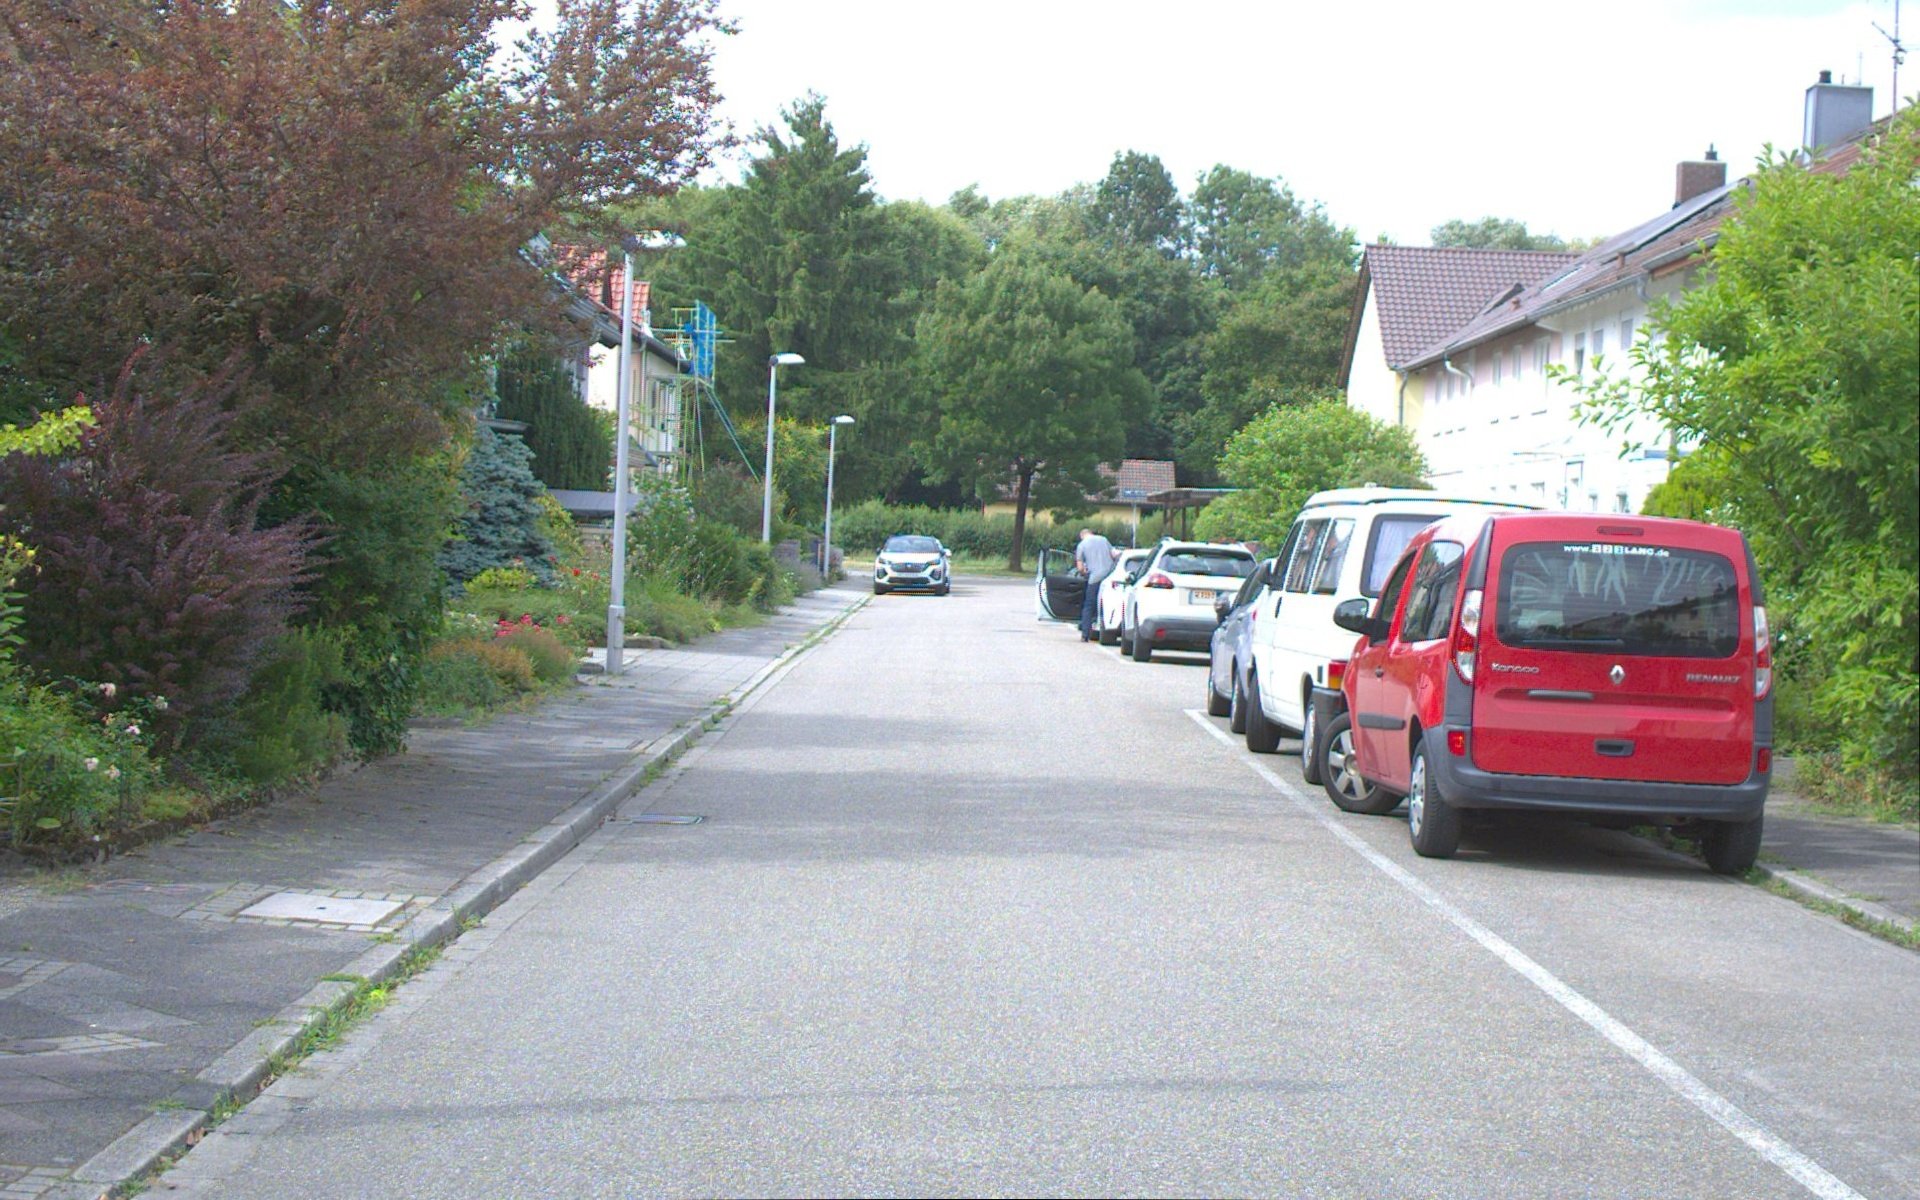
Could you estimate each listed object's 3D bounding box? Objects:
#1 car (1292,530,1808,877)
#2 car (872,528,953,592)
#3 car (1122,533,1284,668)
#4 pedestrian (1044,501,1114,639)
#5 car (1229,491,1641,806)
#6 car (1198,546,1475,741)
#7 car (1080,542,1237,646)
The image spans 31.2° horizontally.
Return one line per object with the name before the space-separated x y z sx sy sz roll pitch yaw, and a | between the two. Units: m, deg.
car | 3.118 0.469 19.114 1.810 1.645 4.411 2 1 -4
car | -1.202 -1.057 88.602 1.934 1.551 4.634 2 1 1
car | 3.063 -0.036 43.946 1.714 1.538 3.974 4 1 0
pedestrian | 1.770 -0.449 51.217 0.912 2.006 0.951 2 2 -2
car | 3.191 0.254 24.110 2.020 1.940 4.748 2 1 -2
car | 3.119 0.311 29.218 1.900 1.454 4.129 2 1 1
car | 2.913 -0.125 51.318 1.838 1.408 4.637 2 1 -3
